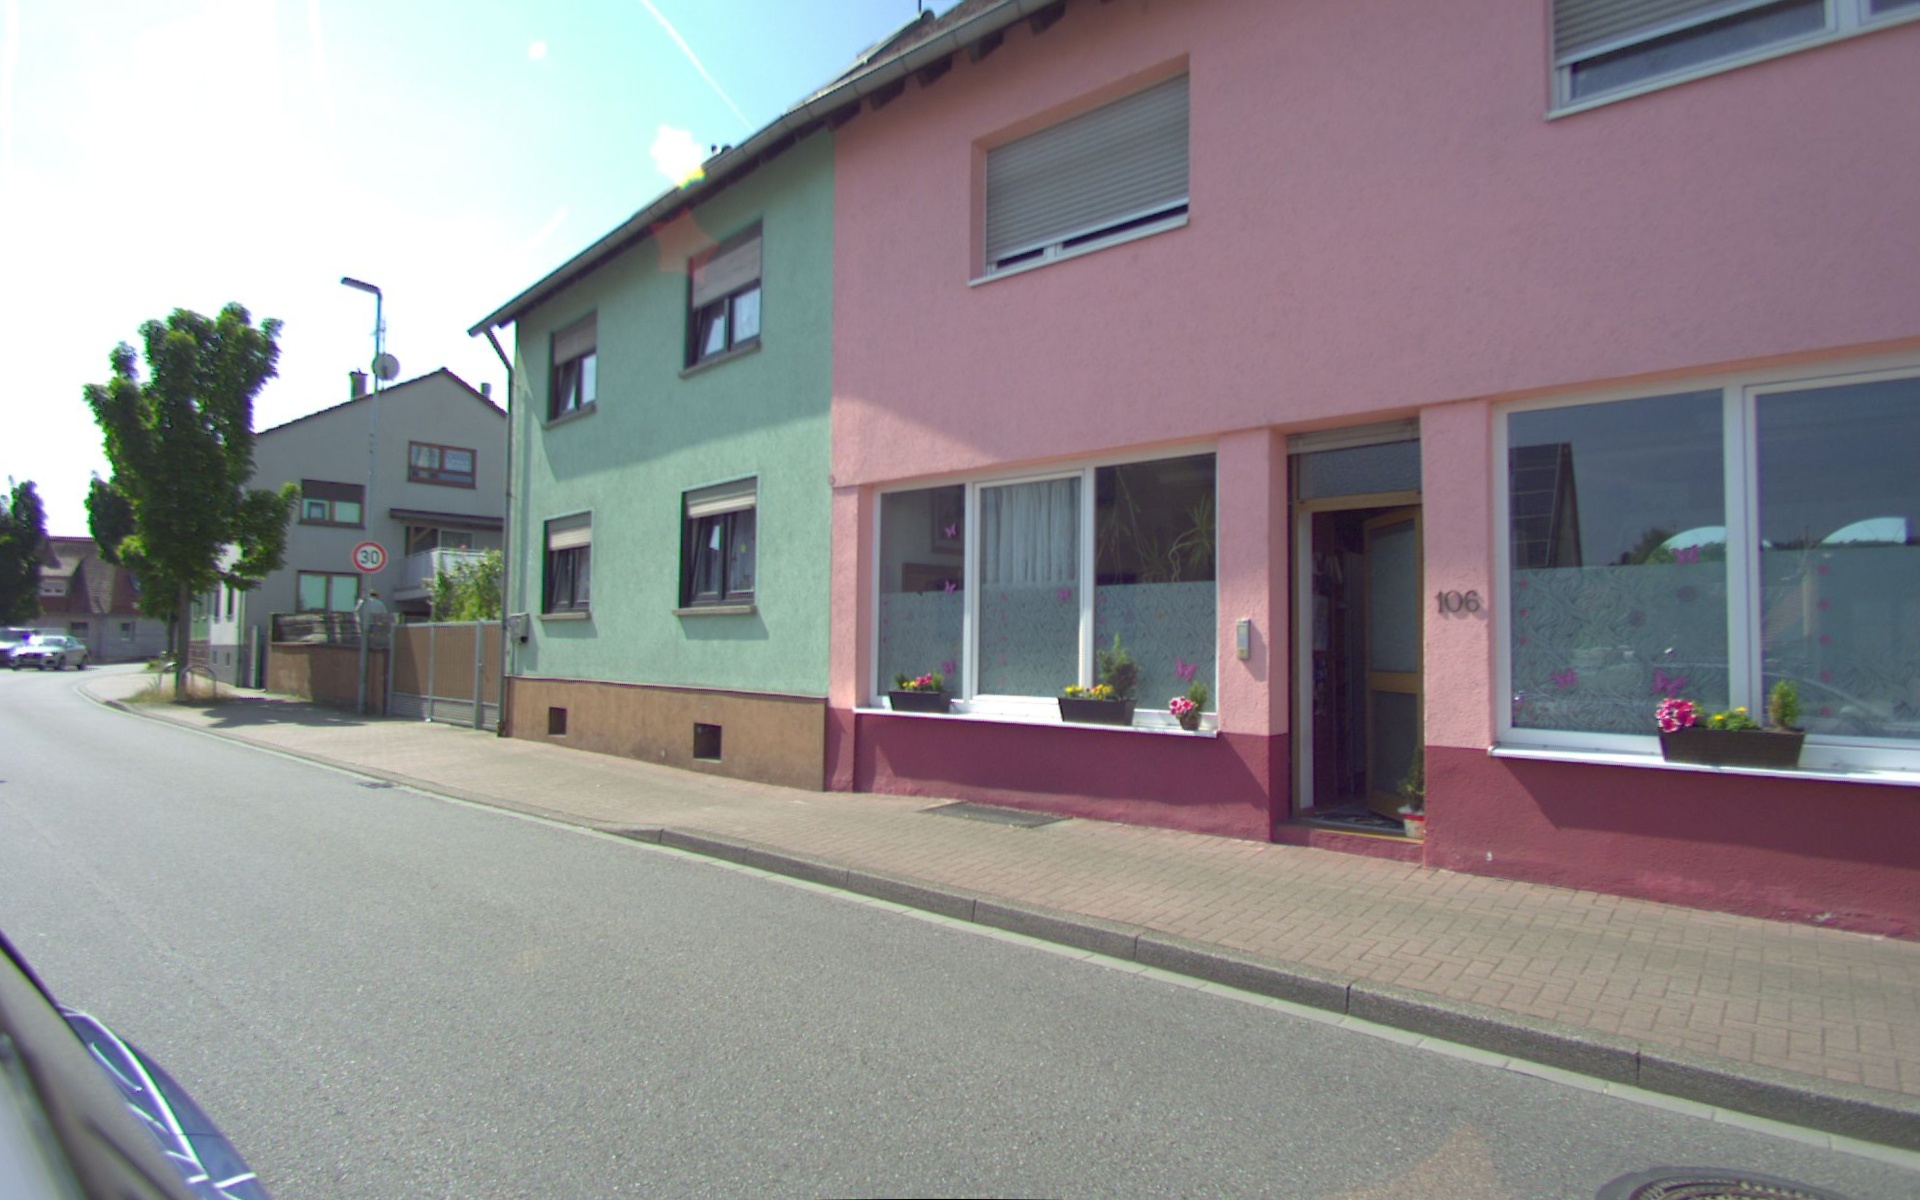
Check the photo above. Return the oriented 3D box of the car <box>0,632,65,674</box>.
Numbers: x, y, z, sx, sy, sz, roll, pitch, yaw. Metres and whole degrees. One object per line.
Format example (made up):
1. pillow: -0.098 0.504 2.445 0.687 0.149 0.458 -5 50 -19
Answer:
1. car: -46.495 2.602 49.980 1.916 1.866 4.524 -1 0 -20

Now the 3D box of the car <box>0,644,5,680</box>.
1. car: -44.881 2.890 45.466 1.722 1.639 3.861 -1 0 -25

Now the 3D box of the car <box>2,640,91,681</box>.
1. car: -41.953 2.741 46.577 1.776 1.639 4.137 -1 0 -23
